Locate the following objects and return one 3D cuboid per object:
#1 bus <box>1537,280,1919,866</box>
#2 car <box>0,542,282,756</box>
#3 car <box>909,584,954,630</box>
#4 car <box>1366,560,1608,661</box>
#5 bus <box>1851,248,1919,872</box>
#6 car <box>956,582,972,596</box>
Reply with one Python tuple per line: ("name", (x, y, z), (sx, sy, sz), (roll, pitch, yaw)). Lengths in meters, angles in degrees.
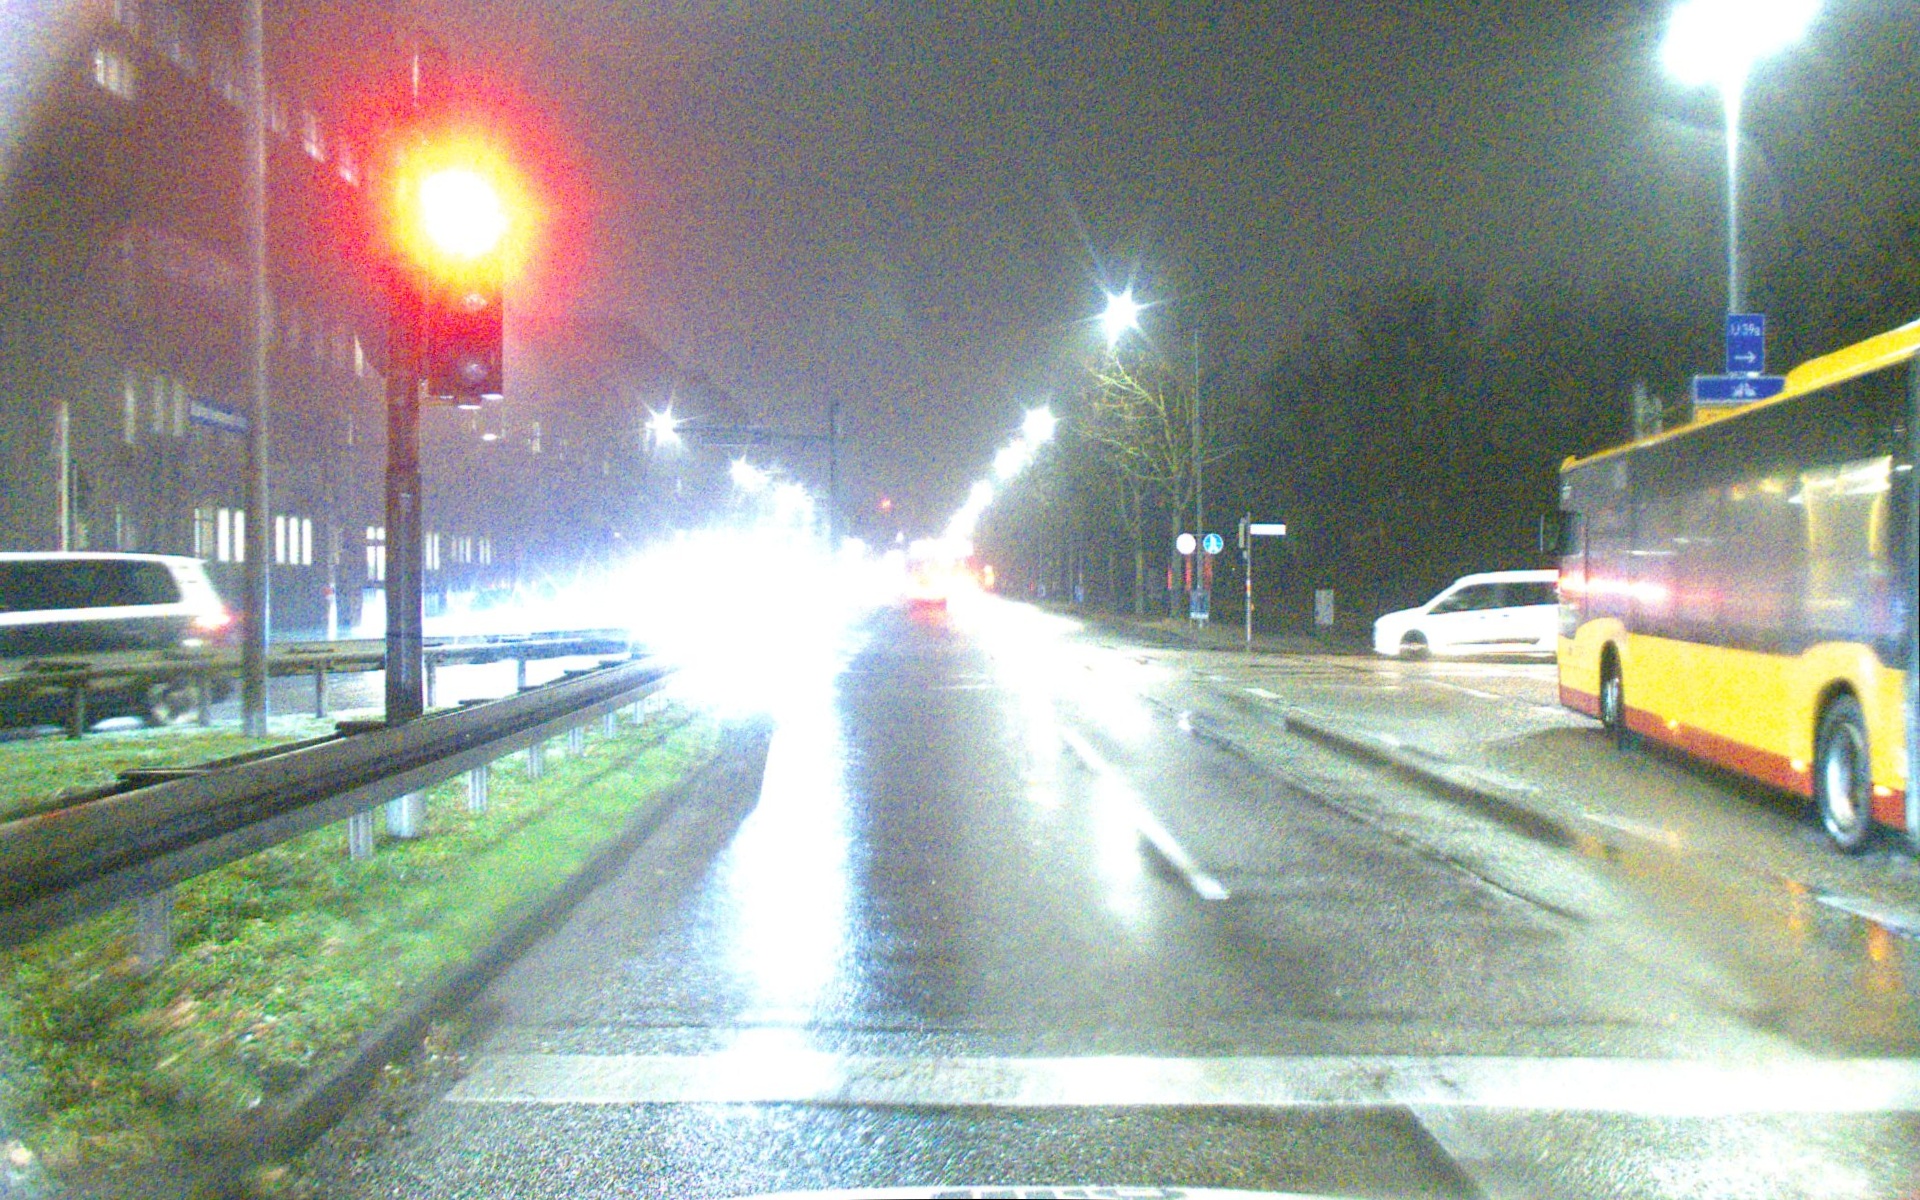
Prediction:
("bus", (7.152, -0.152, 13.610), (2.710, 3.178, 9.770), (1, 0, 8))
("car", (-9.648, 0.464, 16.607), (1.957, 2.019, 5.097), (0, 0, 32))
("car", (-1.455, 0.346, 82.212), (2.092, 2.182, 4.926), (1, 0, -2))
("car", (10.623, 0.188, 33.383), (4.517, 1.907, 1.797), (1, 0, 21))
("bus", (6.135, -0.157, 4.154), (2.711, 3.178, 9.764), (1, 0, 1))
("car", (0.550, -1.494, 219.911), (1.953, 1.790, 3.999), (1, 0, -1))
